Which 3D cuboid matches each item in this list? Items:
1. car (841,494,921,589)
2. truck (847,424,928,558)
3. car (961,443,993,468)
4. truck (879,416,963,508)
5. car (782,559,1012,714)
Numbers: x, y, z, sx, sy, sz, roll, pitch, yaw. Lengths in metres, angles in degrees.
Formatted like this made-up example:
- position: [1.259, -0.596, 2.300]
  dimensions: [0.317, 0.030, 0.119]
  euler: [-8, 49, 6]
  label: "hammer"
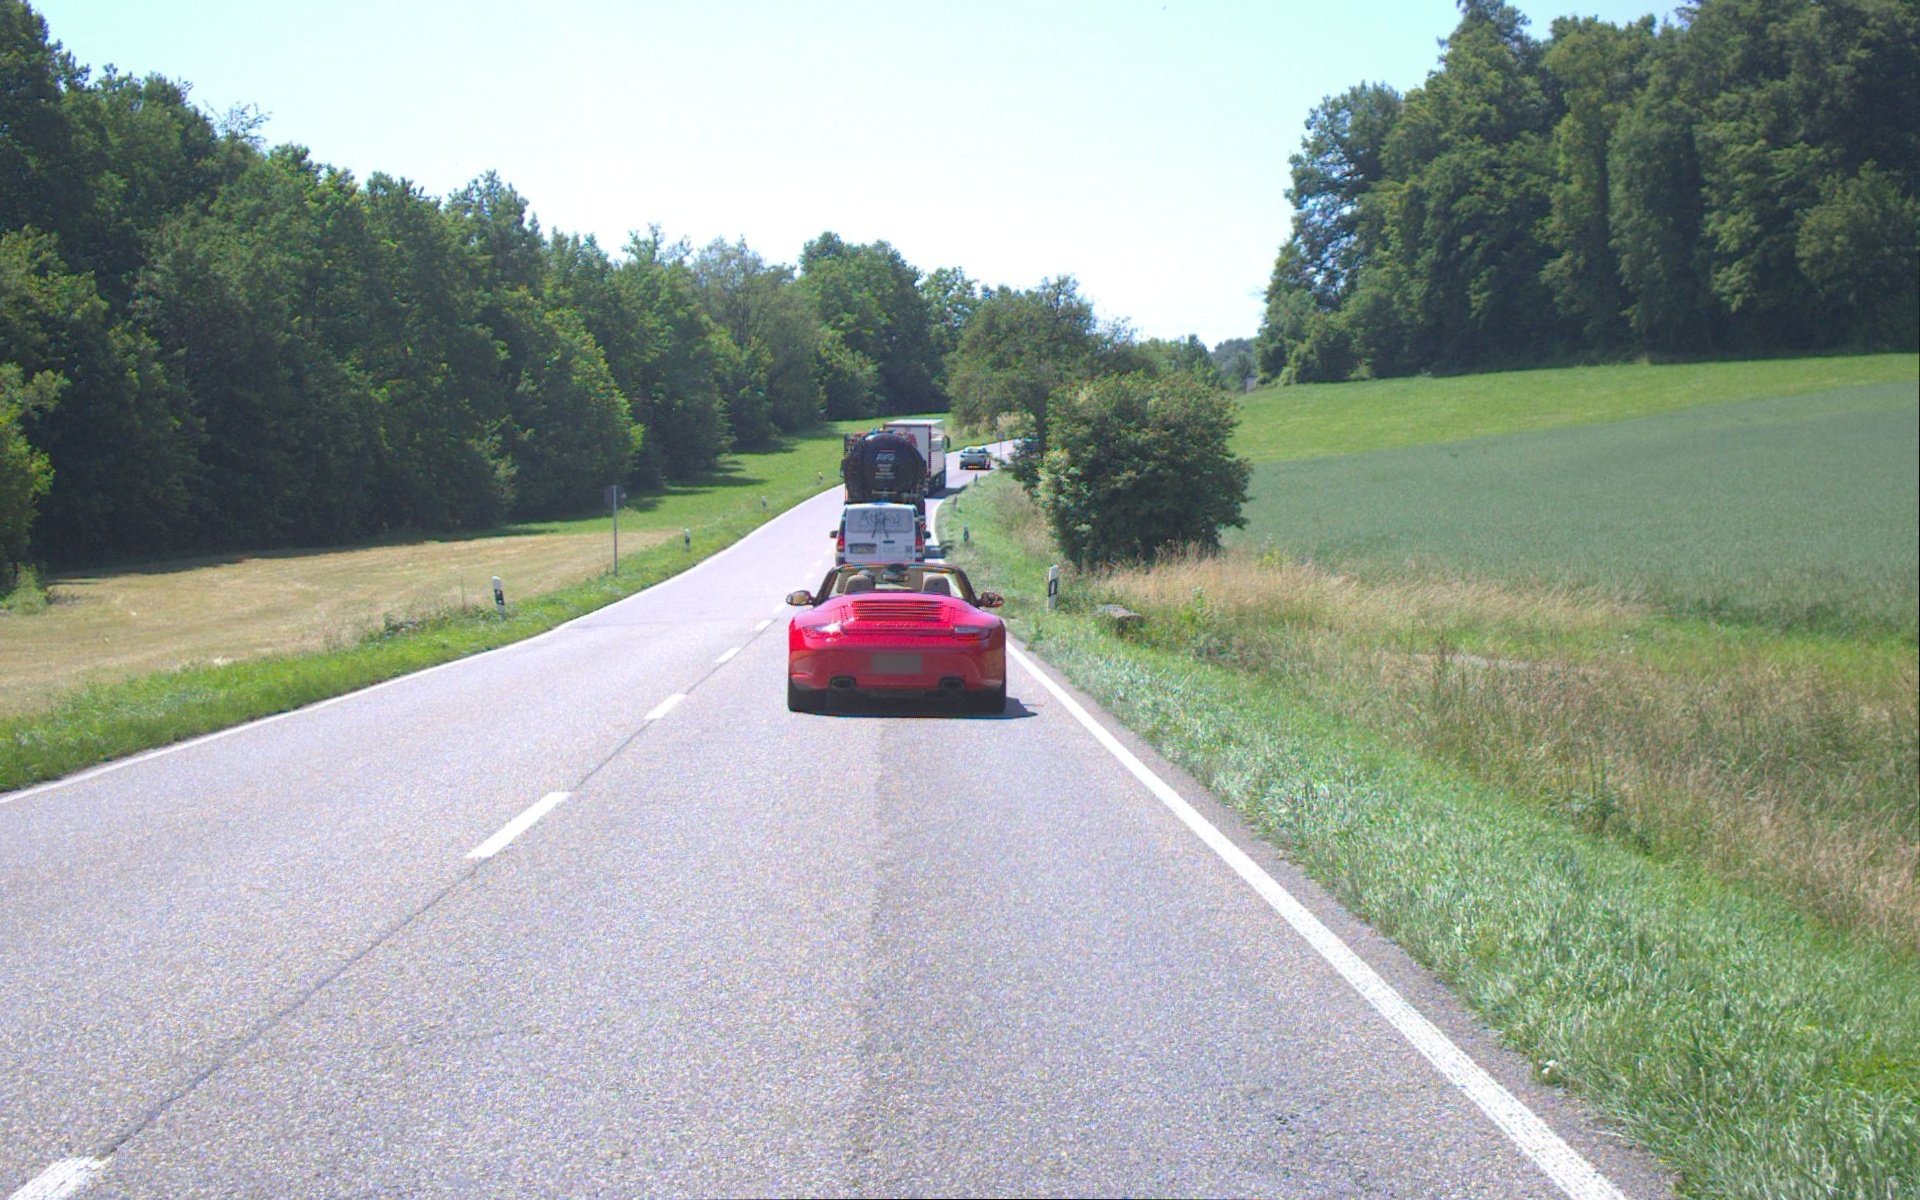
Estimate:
- position: [-1.712, -1.291, 74.375]
  dimensions: [1.678, 1.894, 4.010]
  euler: [0, 3, -1]
  label: "car"
- position: [-2.412, -3.479, 111.140]
  dimensions: [2.403, 4.036, 12.552]
  euler: [1, 1, -2]
  label: "truck"
- position: [1.153, -9.647, 229.510]
  dimensions: [1.698, 1.491, 3.711]
  euler: [-3, 3, 5]
  label: "car"
- position: [-2.098, -7.776, 192.372]
  dimensions: [3.726, 4.643, 12.032]
  euler: [0, 5, 4]
  label: "truck"
- position: [-0.560, 0.277, 30.216]
  dimensions: [1.882, 1.251, 4.010]
  euler: [0, 1, -1]
  label: "car"
